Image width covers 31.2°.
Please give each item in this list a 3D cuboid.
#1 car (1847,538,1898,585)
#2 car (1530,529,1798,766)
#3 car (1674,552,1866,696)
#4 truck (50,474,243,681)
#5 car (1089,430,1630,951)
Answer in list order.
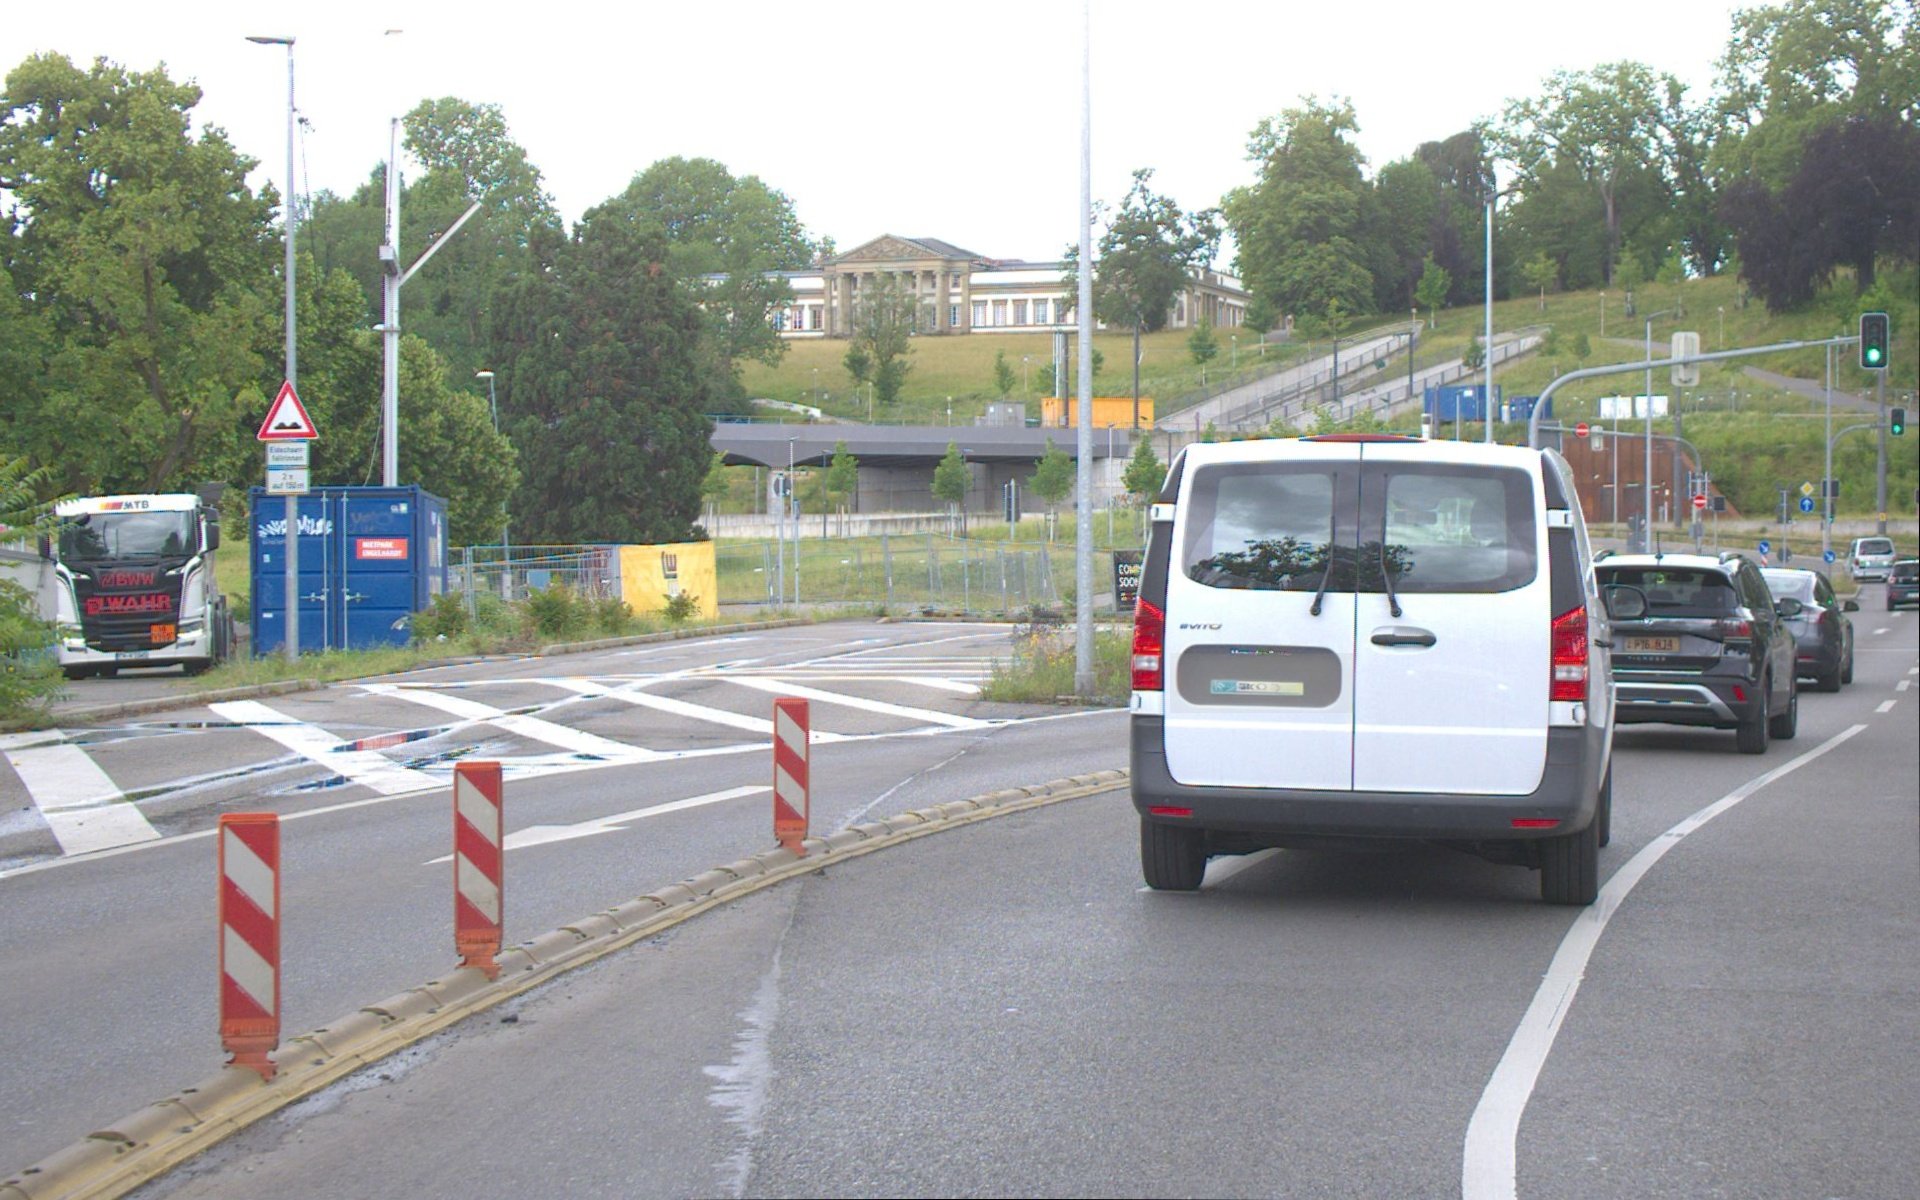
[{"bbox_3d":[36.543,-1.547,137.779,1.753,1.766,3.998,3,1,13],"label":"car"},{"bbox_3d":[5.787,0.329,27.935,1.840,1.723,4.059,2,1,15],"label":"car"},{"bbox_3d":[9.738,0.255,41.120,1.840,1.577,4.058,2,1,18],"label":"car"},{"bbox_3d":[-14.247,-0.459,60.749,2.792,3.324,8.481,-2,1,-10],"label":"truck"},{"bbox_3d":[1.921,0.301,15.182,1.960,1.897,4.459,2,1,11],"label":"car"}]
